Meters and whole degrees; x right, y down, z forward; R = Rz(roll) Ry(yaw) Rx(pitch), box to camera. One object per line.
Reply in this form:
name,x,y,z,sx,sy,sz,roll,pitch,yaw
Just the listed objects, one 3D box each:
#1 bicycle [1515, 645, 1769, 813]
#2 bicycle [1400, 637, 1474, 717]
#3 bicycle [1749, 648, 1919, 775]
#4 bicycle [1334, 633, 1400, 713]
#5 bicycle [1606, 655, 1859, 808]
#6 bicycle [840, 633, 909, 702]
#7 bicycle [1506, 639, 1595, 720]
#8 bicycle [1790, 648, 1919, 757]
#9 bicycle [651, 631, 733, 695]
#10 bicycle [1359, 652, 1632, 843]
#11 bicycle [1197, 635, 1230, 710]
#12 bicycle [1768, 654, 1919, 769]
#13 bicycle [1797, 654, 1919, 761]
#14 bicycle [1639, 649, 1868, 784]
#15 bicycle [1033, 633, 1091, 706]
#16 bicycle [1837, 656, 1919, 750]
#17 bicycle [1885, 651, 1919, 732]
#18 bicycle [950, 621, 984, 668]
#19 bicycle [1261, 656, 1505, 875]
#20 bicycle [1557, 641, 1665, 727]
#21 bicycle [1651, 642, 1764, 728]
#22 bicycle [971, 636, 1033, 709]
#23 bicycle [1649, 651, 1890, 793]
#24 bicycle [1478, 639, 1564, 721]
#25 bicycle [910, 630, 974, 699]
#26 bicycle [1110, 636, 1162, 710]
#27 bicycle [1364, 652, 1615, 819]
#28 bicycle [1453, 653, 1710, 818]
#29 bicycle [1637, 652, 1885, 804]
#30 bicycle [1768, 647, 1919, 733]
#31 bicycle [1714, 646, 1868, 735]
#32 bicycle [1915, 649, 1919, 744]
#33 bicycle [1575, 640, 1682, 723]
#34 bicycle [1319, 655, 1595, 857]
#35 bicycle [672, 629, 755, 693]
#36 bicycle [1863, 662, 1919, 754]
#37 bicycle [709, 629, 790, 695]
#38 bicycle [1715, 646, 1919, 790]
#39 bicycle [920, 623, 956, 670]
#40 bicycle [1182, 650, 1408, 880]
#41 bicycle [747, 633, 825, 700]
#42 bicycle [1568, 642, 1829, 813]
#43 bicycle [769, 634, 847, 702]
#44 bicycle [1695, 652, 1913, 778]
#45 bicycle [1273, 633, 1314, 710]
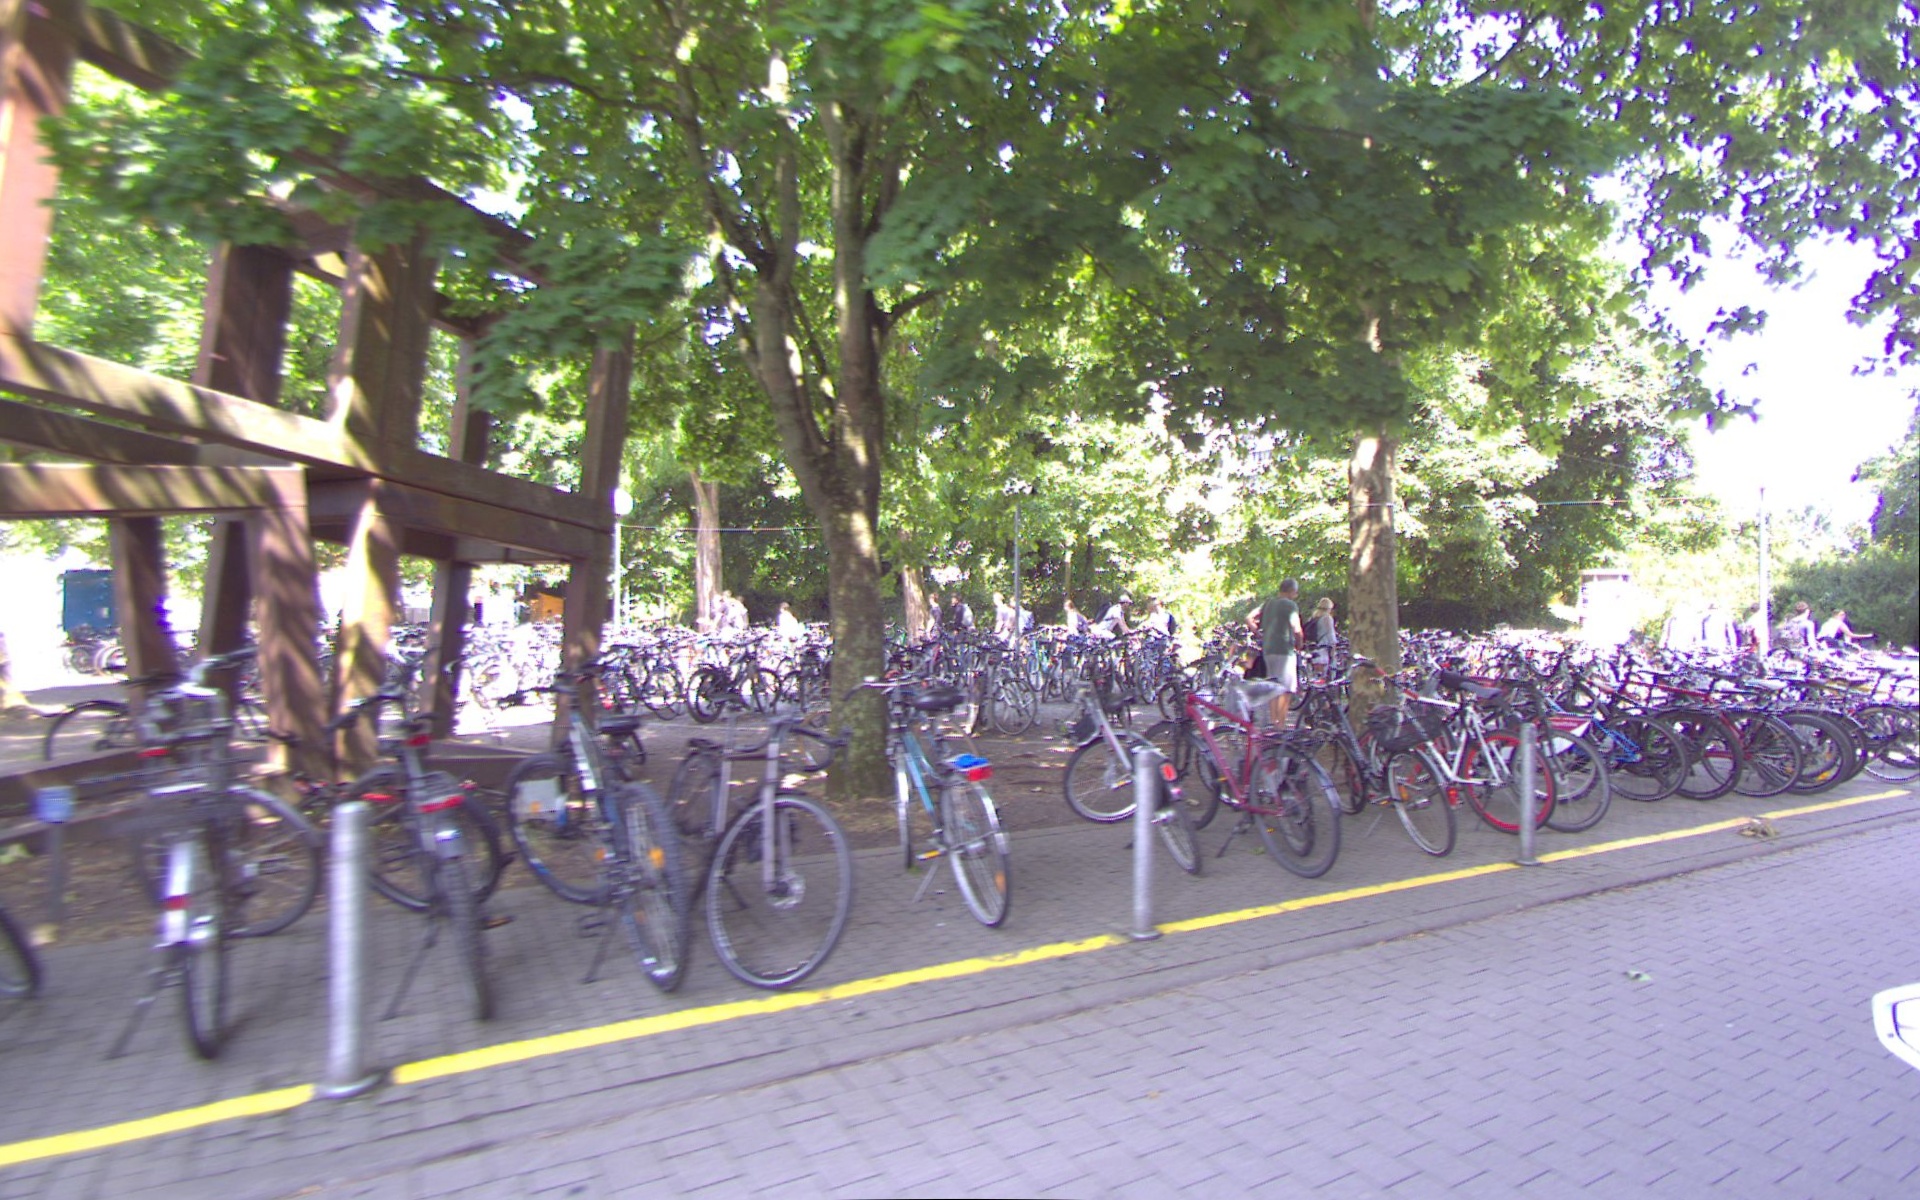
bicycle,5.690,1.021,8.493,0.491,1.194,1.726,1,0,-30
bicycle,7.301,1.150,15.437,0.464,1.098,1.700,1,0,6
bicycle,9.456,1.148,10.618,0.470,1.203,1.679,1,0,-41
bicycle,6.210,1.085,15.397,0.464,1.098,1.700,1,0,6
bicycle,6.700,1.089,8.793,0.493,1.123,1.679,1,0,-40
bicycle,-1.463,1.145,17.564,0.465,1.098,1.699,1,0,22
bicycle,8.898,1.169,15.203,0.464,1.098,1.700,1,0,6
bicycle,10.766,1.183,11.659,1.670,1.173,0.473,1,0,33
bicycle,-5.011,1.152,18.903,0.465,1.098,1.858,1,0,22
bicycle,3.841,0.997,7.354,0.492,1.141,1.724,1,0,-34
bicycle,4.118,1.142,16.301,0.464,1.098,1.700,1,0,14
bicycle,9.899,1.194,10.894,0.578,1.123,1.679,1,0,-41
bicycle,10.520,1.207,11.264,1.670,1.123,0.473,1,0,33
bicycle,7.676,1.085,9.789,0.470,1.123,1.679,1,0,-41
bicycle,1.701,1.106,16.542,0.465,1.098,1.699,1,0,22
bicycle,11.822,1.268,12.207,1.667,1.076,0.474,1,0,25
bicycle,14.041,1.299,14.471,1.678,1.098,0.505,1,0,-28
bicycle,0.192,1.101,25.514,0.507,1.125,1.779,1,0,12
bicycle,2.636,0.975,6.490,0.564,1.123,1.737,1,0,-11
bicycle,9.401,1.187,14.578,0.465,1.098,1.700,1,0,1
bicycle,10.769,1.195,14.537,0.464,1.098,1.700,1,0,5
bicycle,0.717,1.161,16.616,0.465,1.098,1.699,1,0,22
bicycle,7.492,1.085,9.365,0.470,1.123,1.679,1,0,-41
bicycle,8.424,1.176,15.155,0.464,1.098,1.700,1,0,6
bicycle,-0.298,1.102,17.560,0.465,1.098,1.699,1,0,22
bicycle,2.885,1.156,16.388,0.465,1.098,1.699,1,0,22
bicycle,4.196,1.027,8.034,1.712,1.123,0.495,1,0,37
bicycle,5.043,1.047,8.249,0.493,1.123,1.719,1,0,-42
bicycle,7.153,1.091,9.045,0.470,1.161,1.679,1,0,-41
bicycle,12.755,1.264,14.509,0.466,1.098,1.693,1,0,-17
bicycle,11.703,1.246,14.215,0.466,1.098,1.693,1,0,-16
bicycle,12.815,1.234,12.245,1.676,1.184,0.471,1,0,44
bicycle,9.895,1.173,14.935,0.465,1.098,1.700,1,0,1
bicycle,3.359,0.993,6.963,0.491,1.123,1.727,1,0,-30
bicycle,-4.549,1.100,18.662,0.465,1.098,1.858,1,0,22
bicycle,11.705,1.285,11.705,1.667,1.032,0.474,1,0,25
bicycle,-3.797,1.096,18.256,0.465,1.098,1.858,1,0,22
bicycle,8.403,1.096,9.706,0.532,1.214,1.681,1,0,-38
bicycle,-0.551,1.164,25.653,0.507,1.125,1.779,1,0,12
bicycle,2.014,0.936,6.280,0.489,1.159,1.624,1,0,-16
bicycle,-3.107,1.170,18.107,0.465,1.098,1.858,1,0,22
bicycle,6.260,1.020,8.608,0.492,1.252,1.722,1,0,-37
bicycle,-2.653,1.167,17.770,0.465,1.098,1.858,1,0,22
bicycle,8.846,1.161,10.588,0.561,1.123,1.679,1,0,-41
bicycle,5.242,1.098,15.831,0.464,1.098,1.700,1,0,14
